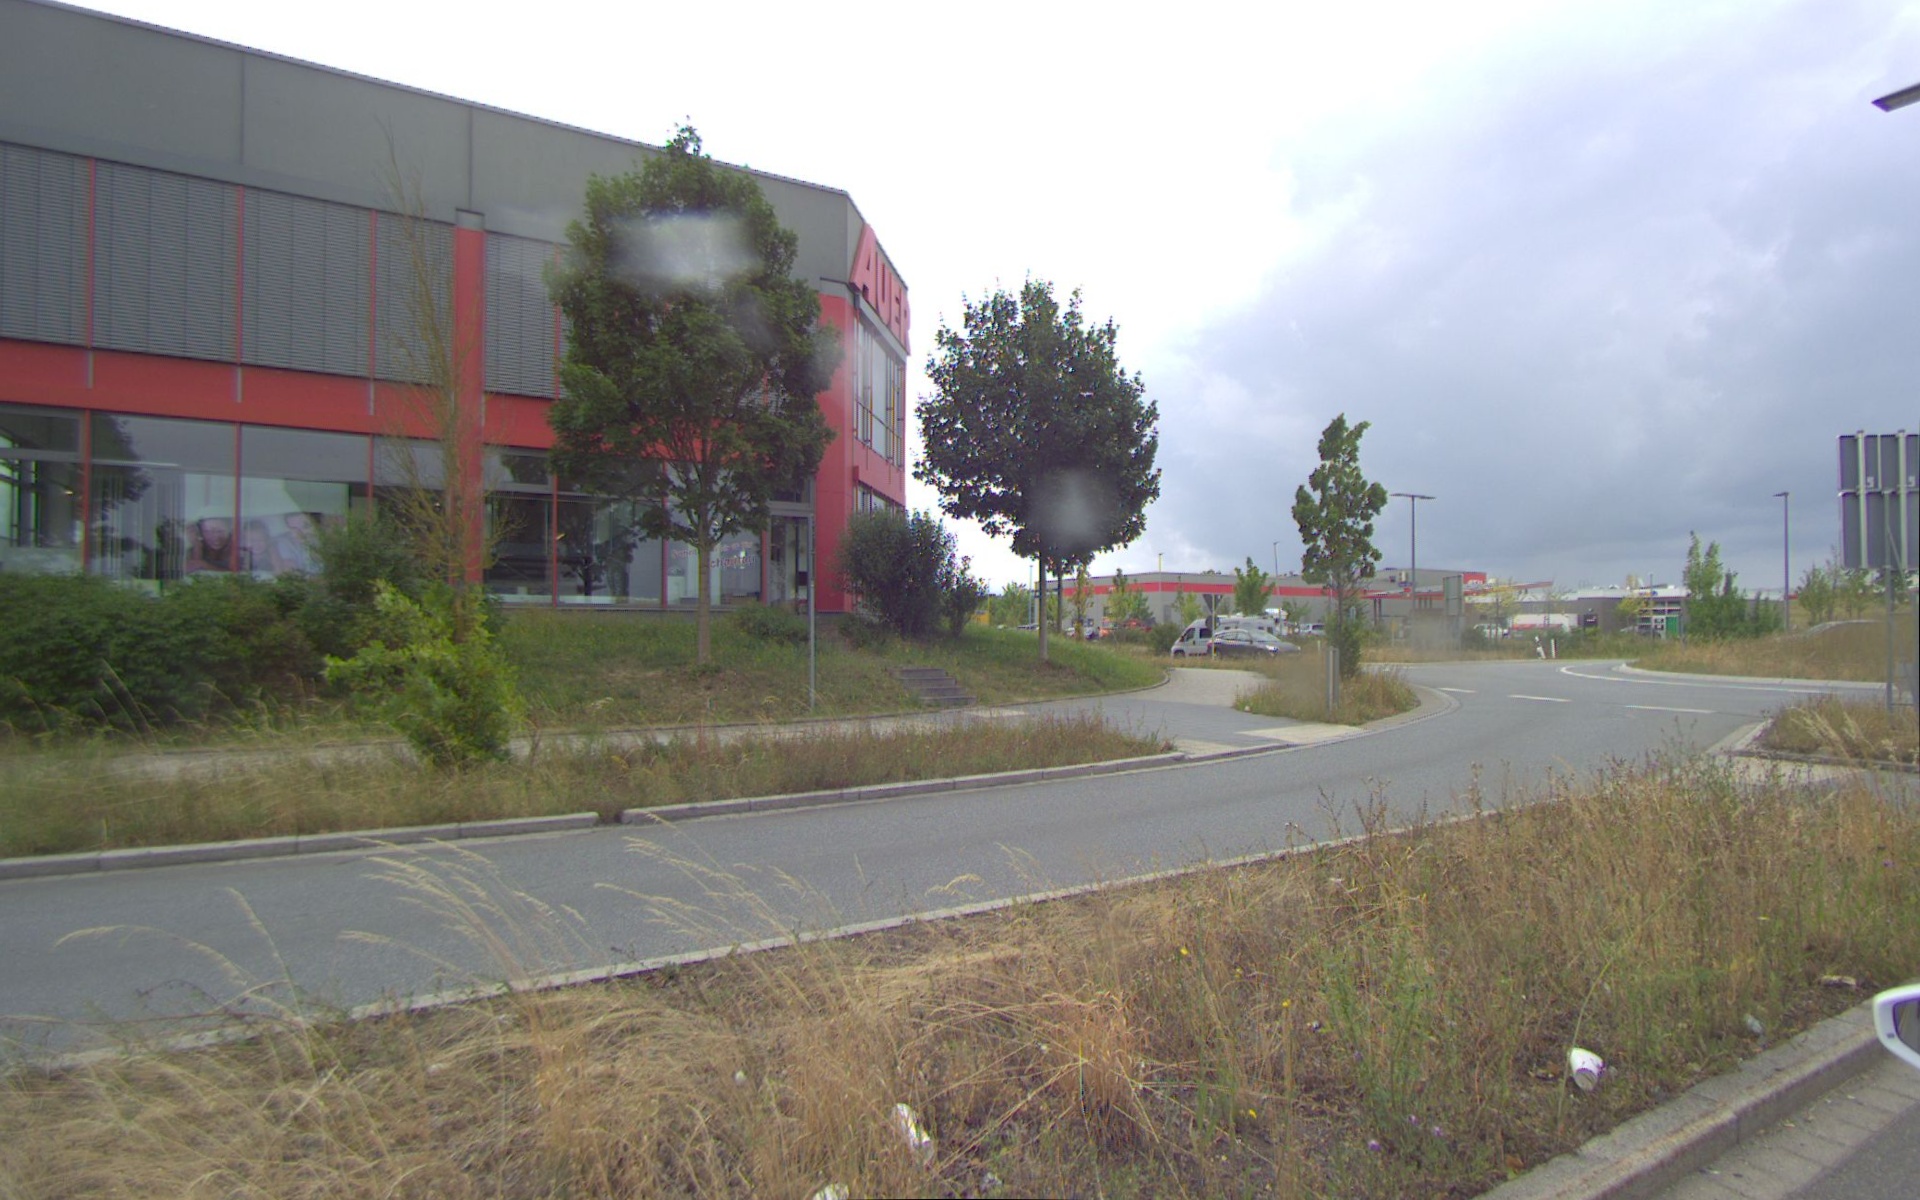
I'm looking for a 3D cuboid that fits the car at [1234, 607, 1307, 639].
[{"bbox_3d":[30.139,2.281,97.333,7.607,2.857,2.448,3,-1,-33],"label":"car"}]

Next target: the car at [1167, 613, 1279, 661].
[{"bbox_3d":[14.370,1.989,55.161,2.263,2.418,5.643,3,-1,-41],"label":"car"}]

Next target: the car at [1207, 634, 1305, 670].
[{"bbox_3d":[12.155,2.123,41.384,1.662,1.267,3.555,3,-1,-38],"label":"car"}]
